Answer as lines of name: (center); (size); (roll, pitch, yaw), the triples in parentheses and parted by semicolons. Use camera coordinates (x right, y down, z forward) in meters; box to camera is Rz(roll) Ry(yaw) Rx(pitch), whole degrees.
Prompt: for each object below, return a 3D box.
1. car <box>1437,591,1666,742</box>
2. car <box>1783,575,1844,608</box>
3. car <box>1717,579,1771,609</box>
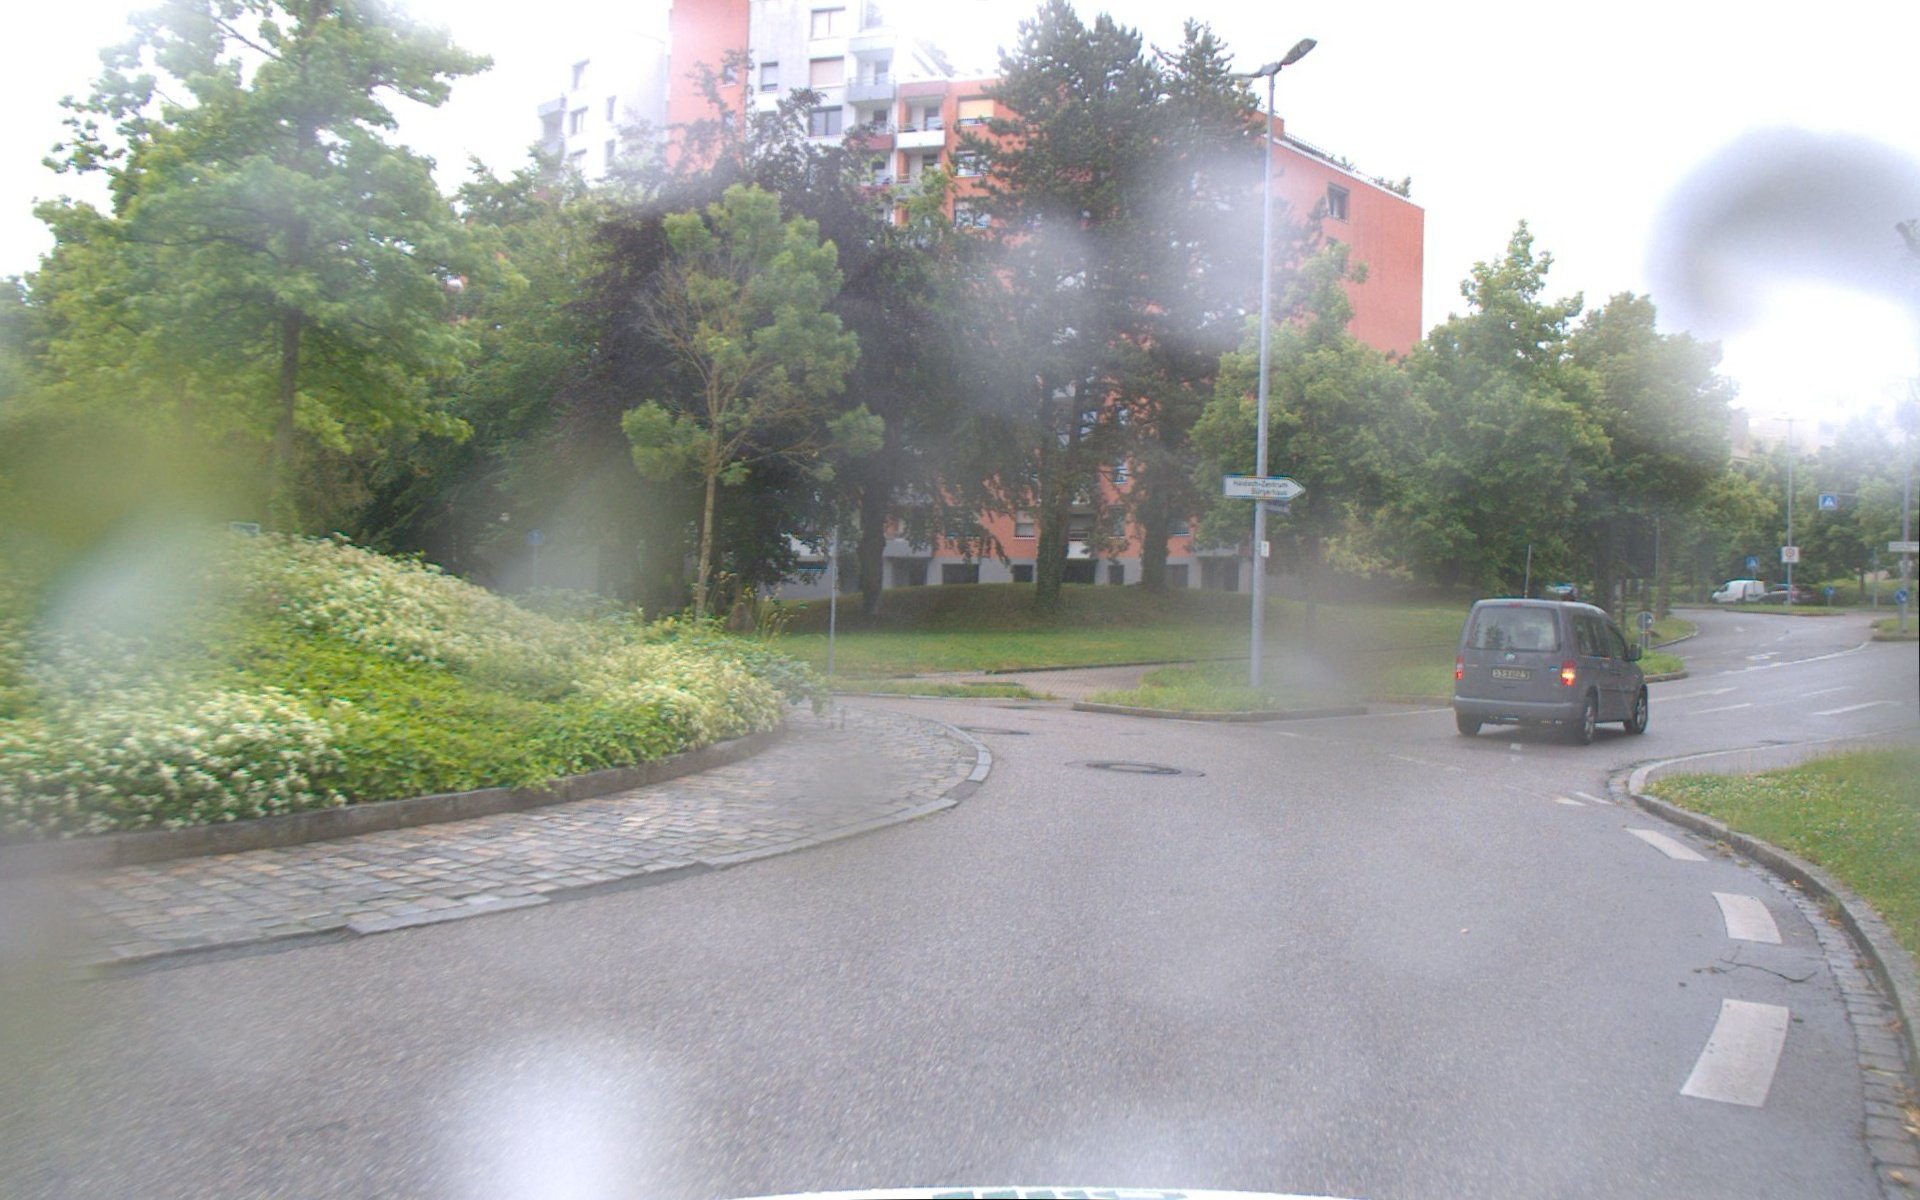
car: (8.221, 0.822, 22.809); (1.888, 1.832, 3.772); (0, 1, 38)
car: (51.994, -0.491, 100.841); (1.807, 1.906, 3.863); (1, -1, 3)
car: (52.024, -0.378, 109.839); (1.951, 1.906, 4.002); (1, -1, 4)
